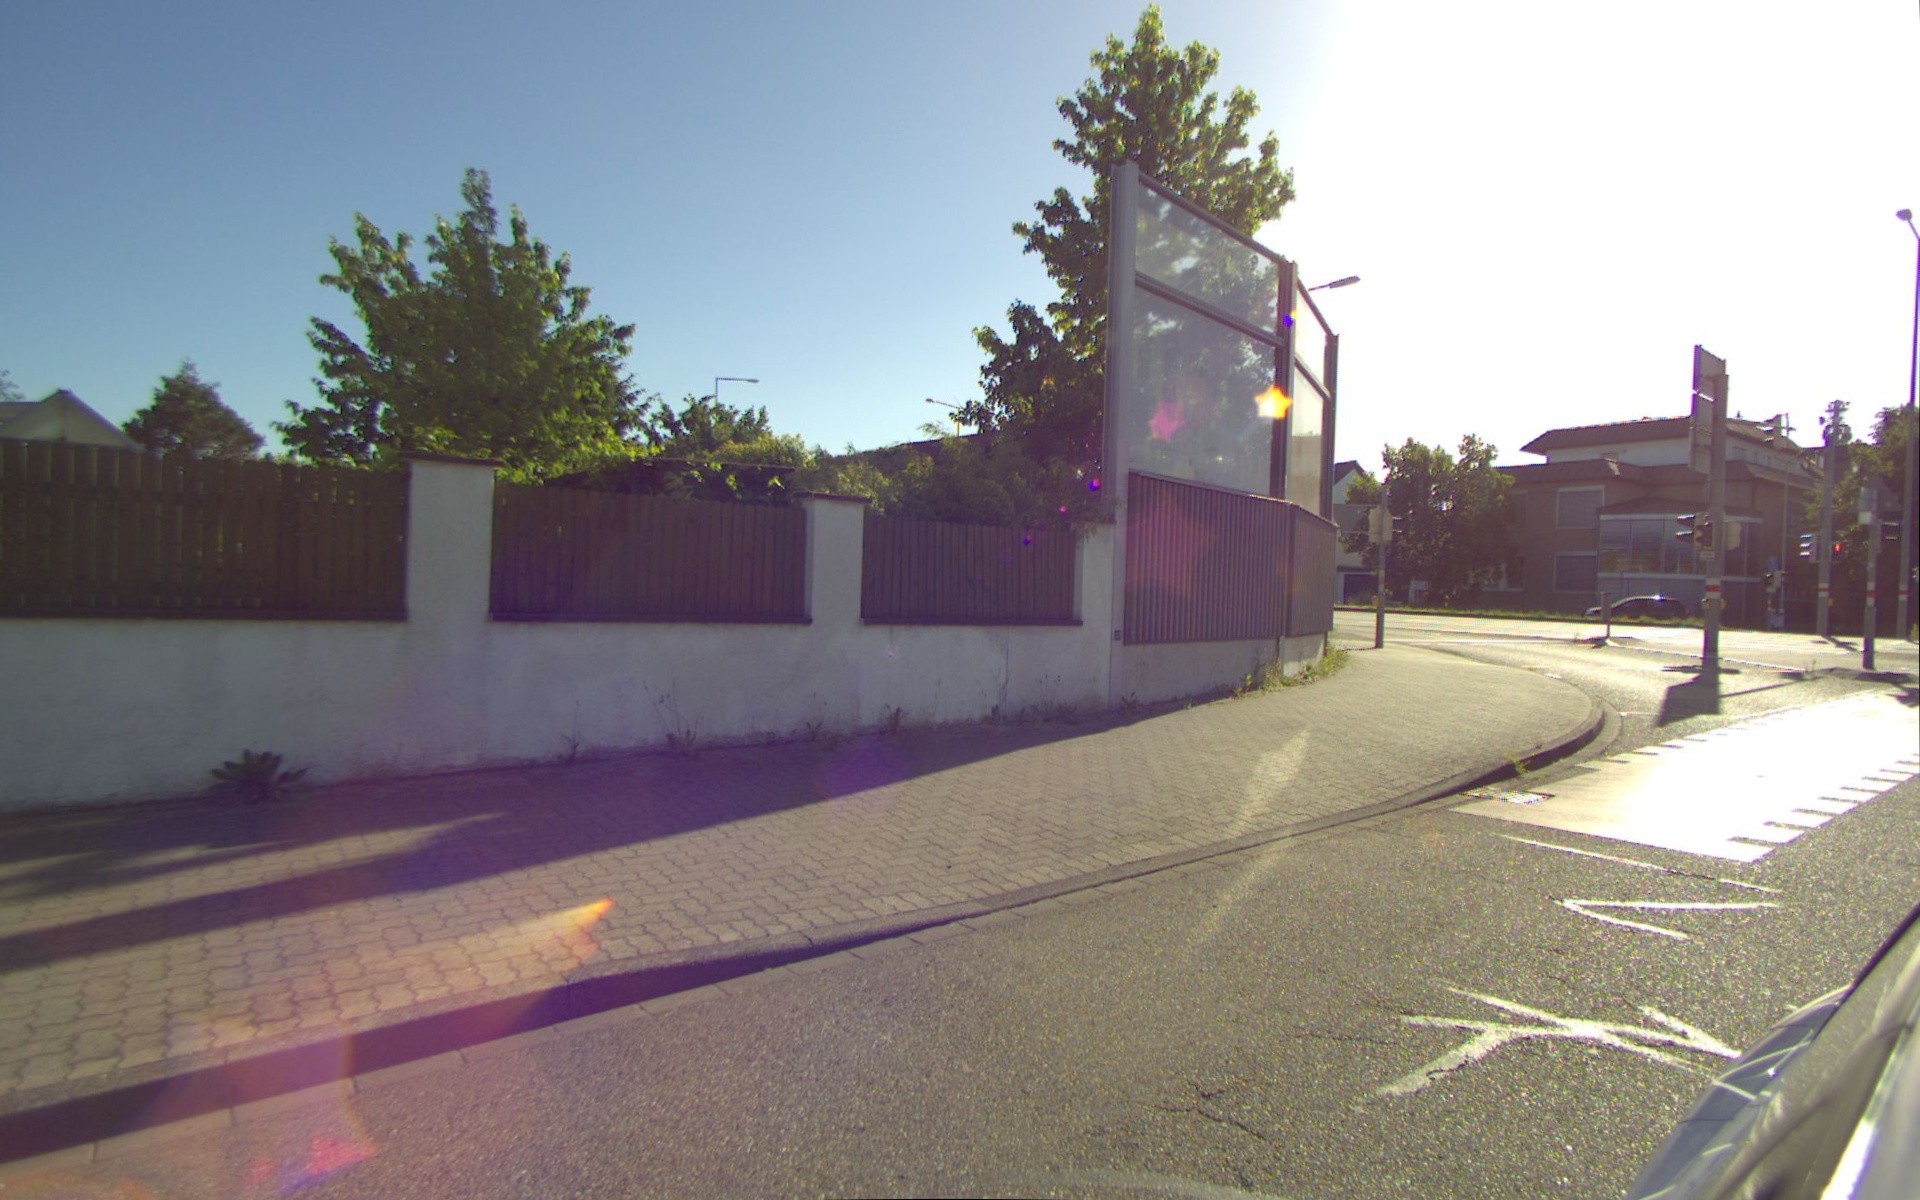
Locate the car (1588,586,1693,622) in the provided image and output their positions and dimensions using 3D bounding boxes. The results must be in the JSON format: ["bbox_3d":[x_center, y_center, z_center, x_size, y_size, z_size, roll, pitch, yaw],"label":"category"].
[{"bbox_3d":[30.053,0.167,44.835,3.751,1.505,1.758,1,0,32],"label":"car"}]
